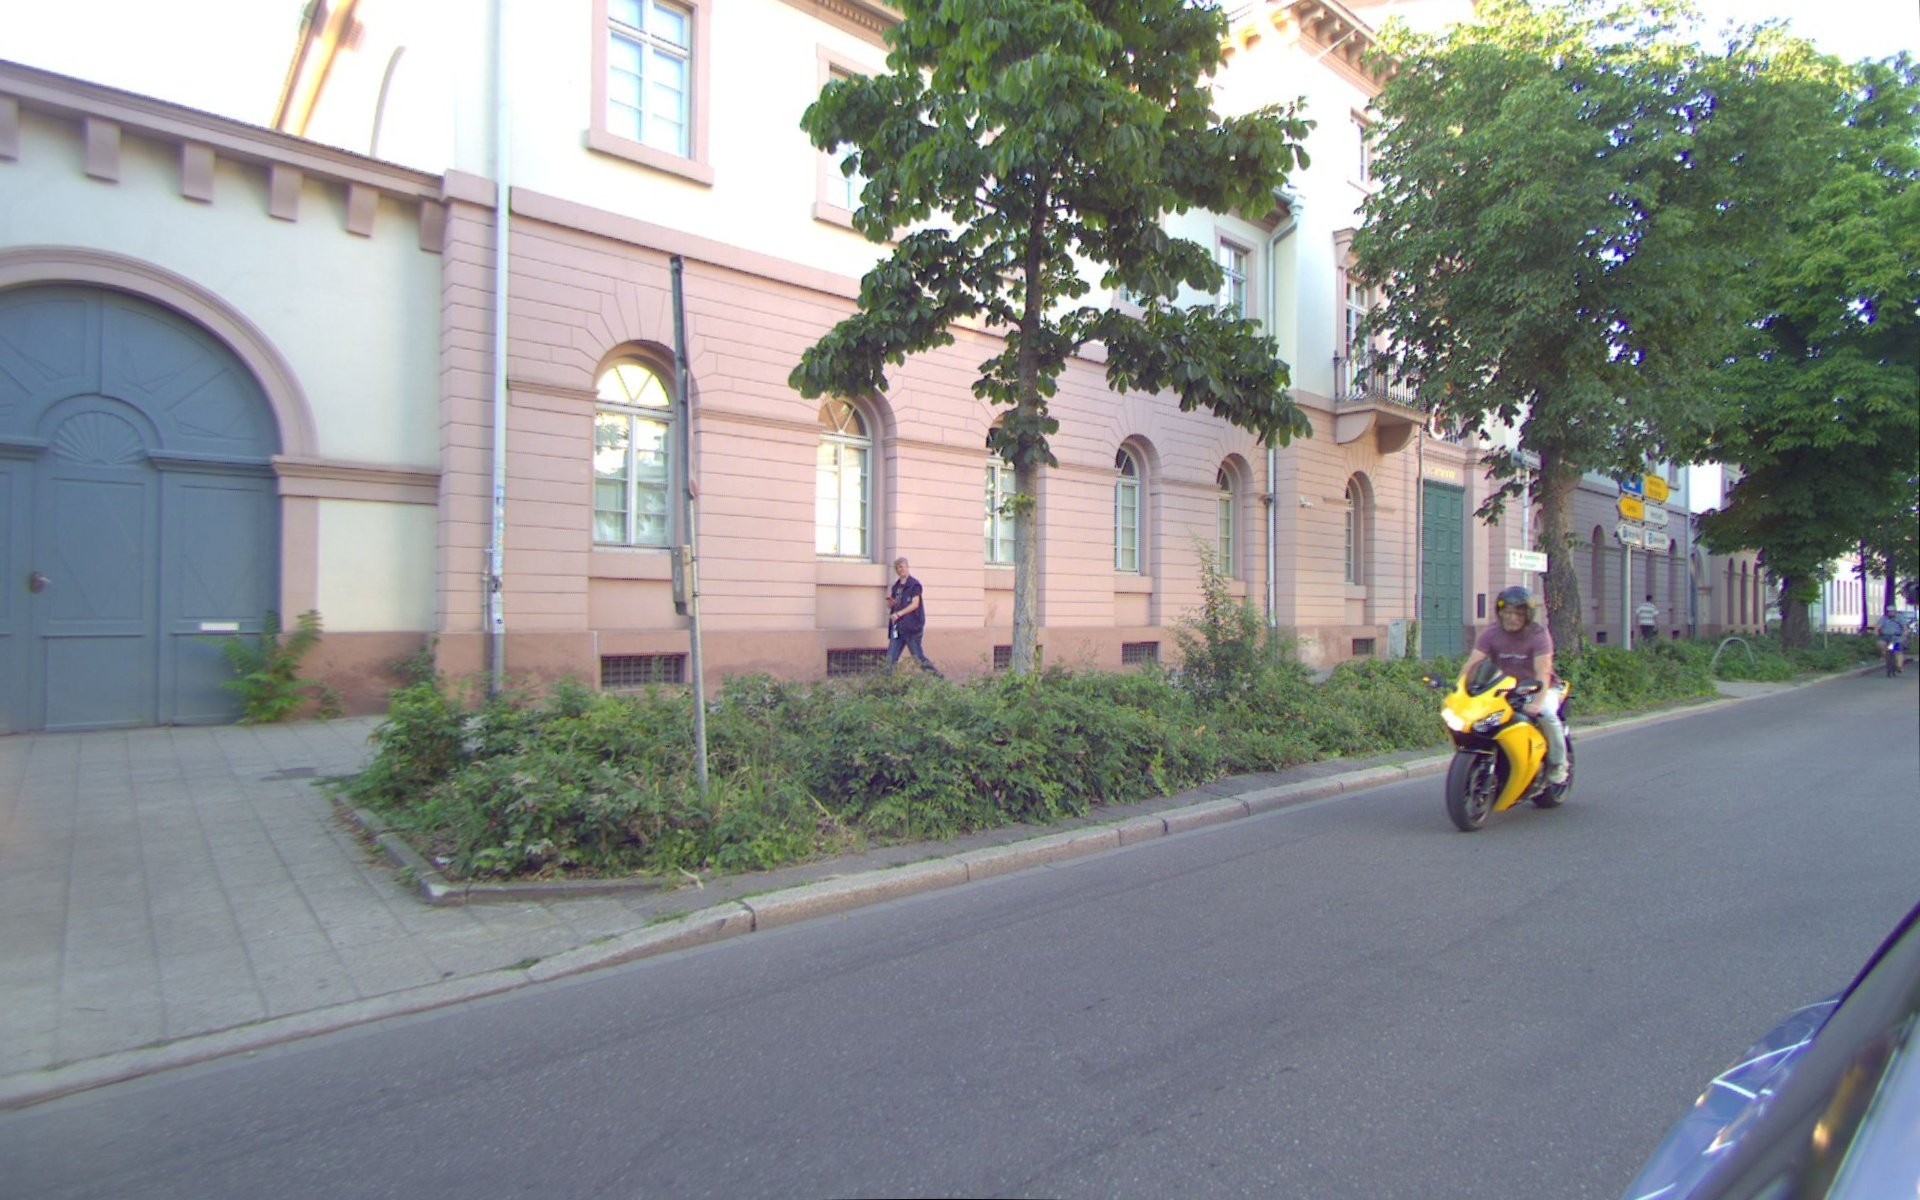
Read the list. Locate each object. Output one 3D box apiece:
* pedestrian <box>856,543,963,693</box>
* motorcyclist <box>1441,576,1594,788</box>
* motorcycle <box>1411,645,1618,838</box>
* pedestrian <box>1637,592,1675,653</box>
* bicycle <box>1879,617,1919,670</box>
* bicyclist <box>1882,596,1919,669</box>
[{"bbox_3d":[-0.660,0.213,13.195,1.063,1.862,0.800,2,1,-38],"label":"pedestrian"},{"bbox_3d":[4.077,0.565,7.414,0.687,1.438,0.791,1,-2,-44],"label":"motorcyclist"},{"bbox_3d":[4.116,0.950,7.441,1.934,1.175,0.791,1,-2,-44],"label":"motorcycle"},{"bbox_3d":[21.735,0.682,31.610,0.914,1.855,0.799,1,-1,-43],"label":"pedestrian"},{"bbox_3d":[24.877,1.124,26.603,2.042,1.347,0.782,1,-3,-41],"label":"bicycle"},{"bbox_3d":[24.897,0.850,26.631,0.812,1.863,0.782,1,-3,-41],"label":"bicyclist"}]
